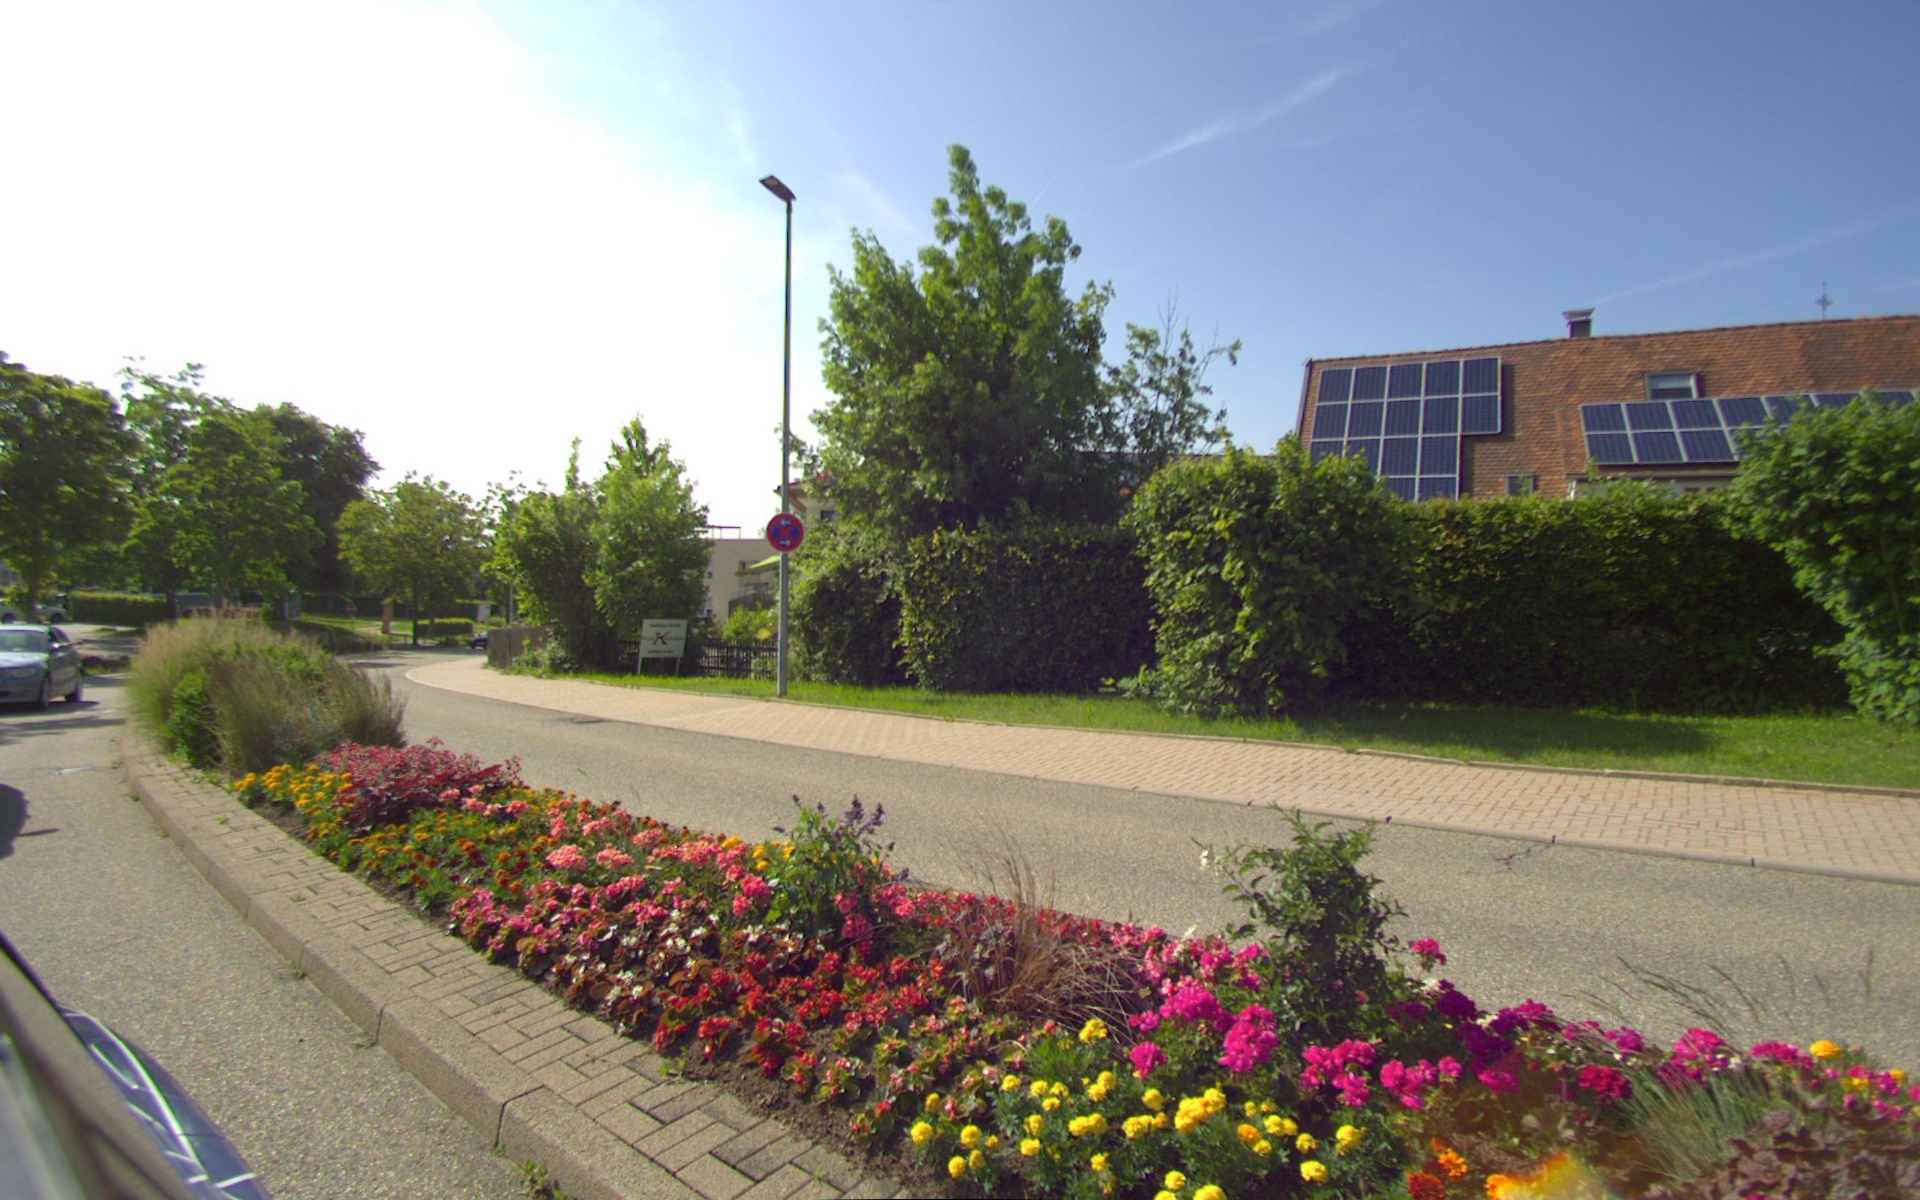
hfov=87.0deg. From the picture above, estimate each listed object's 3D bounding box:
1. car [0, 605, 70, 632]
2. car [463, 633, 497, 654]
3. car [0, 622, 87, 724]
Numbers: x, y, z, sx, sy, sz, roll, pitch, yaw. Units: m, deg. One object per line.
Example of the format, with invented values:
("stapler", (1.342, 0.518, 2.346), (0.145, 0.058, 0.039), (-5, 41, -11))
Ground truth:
("car", (-58.157, 1.118, 62.575), (1.778, 1.527, 4.344), (1, -3, 17))
("car", (-33.482, 3.024, 70.583), (1.455, 1.375, 2.809), (1, -2, -11))
("car", (-16.213, 1.147, 16.926), (1.872, 1.519, 4.010), (4, -3, -34))
